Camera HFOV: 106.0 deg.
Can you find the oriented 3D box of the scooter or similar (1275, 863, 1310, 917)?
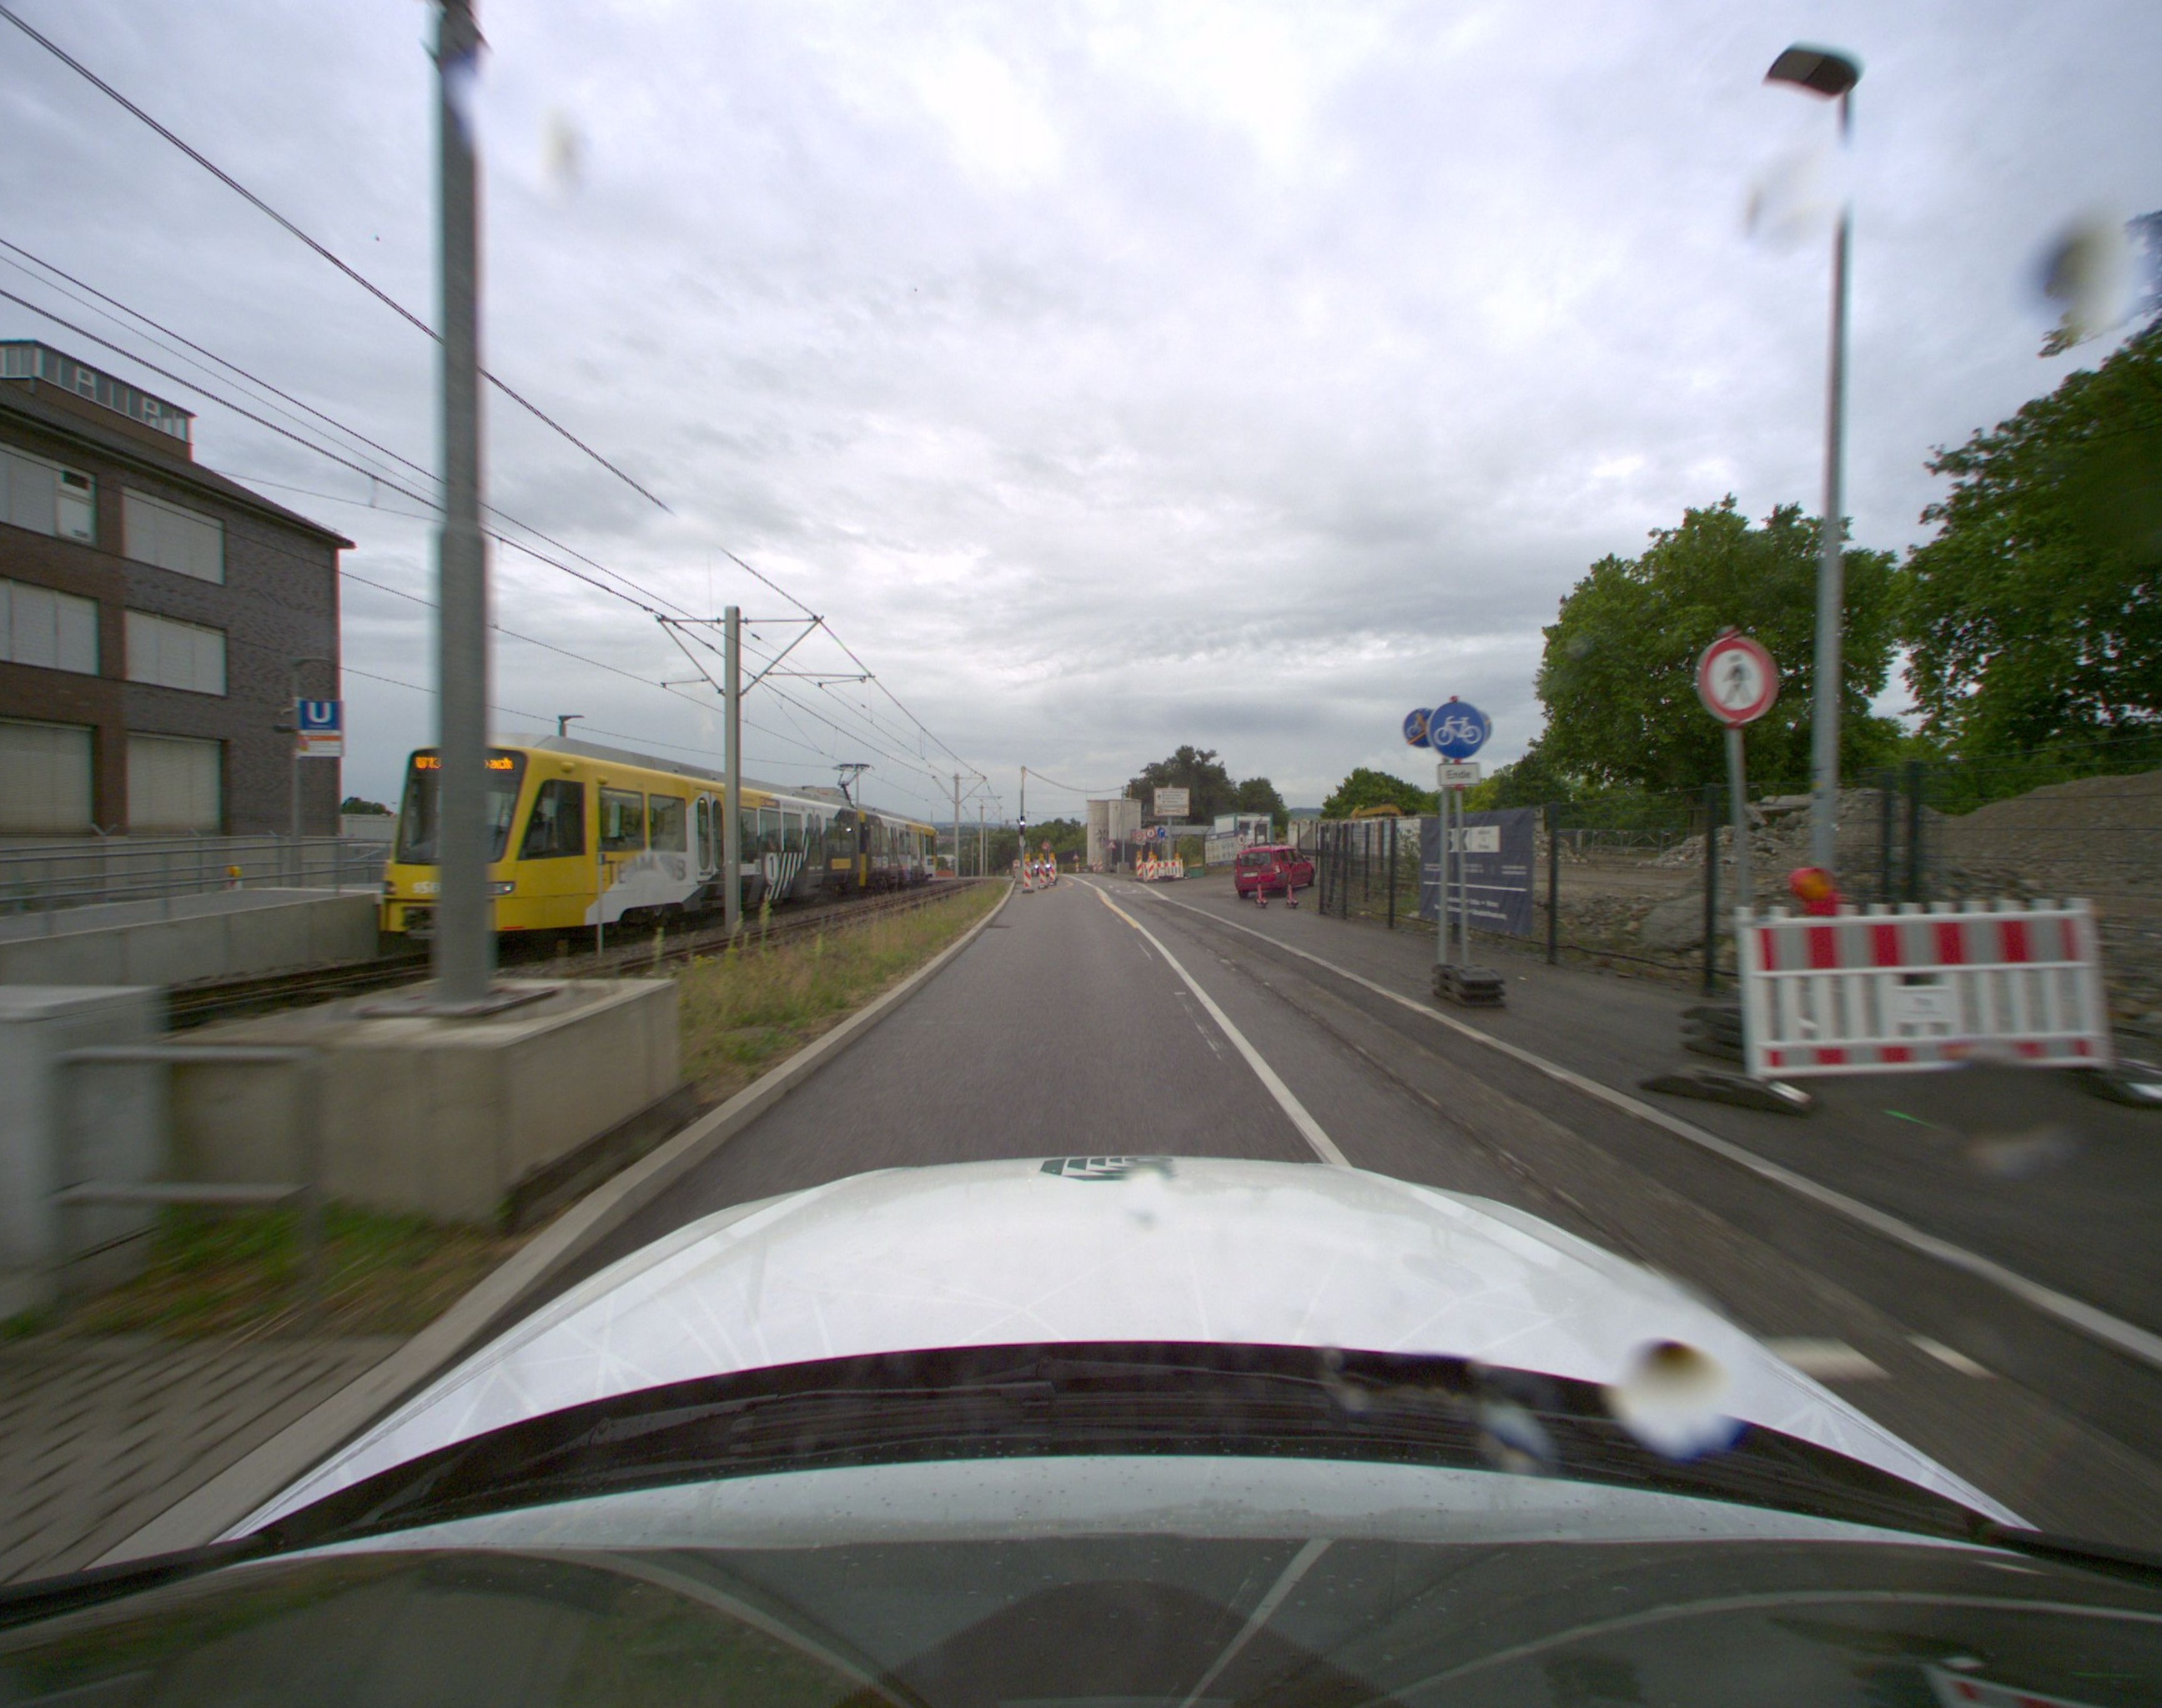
[{"bbox_3d":[5.599,0.920,21.658,0.612,1.351,1.915,-1,0,5],"label":"scooter or similar"}]

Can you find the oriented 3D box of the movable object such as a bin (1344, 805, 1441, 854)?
[{"bbox_3d":[40.193,-3.086,105.521,11.172,5.996,3.497,-1,-1,6],"label":"movable object such as a bin"}]

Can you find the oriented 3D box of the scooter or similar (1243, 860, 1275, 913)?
[{"bbox_3d":[4.769,0.842,21.942,0.612,1.351,1.915,-1,0,5],"label":"scooter or similar"}]

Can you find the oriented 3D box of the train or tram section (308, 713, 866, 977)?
[{"bbox_3d":[-9.922,-0.071,21.907,2.945,3.886,19.570,1,0,0],"label":"train or tram section"}]

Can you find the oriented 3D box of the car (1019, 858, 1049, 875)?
[{"bbox_3d":[-5.096,1.380,88.376,2.000,1.678,4.457,-1,-1,-20],"label":"car"}]

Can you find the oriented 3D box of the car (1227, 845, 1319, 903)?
[{"bbox_3d":[6.587,0.628,27.552,1.802,1.794,4.436,-1,0,30],"label":"car"}]

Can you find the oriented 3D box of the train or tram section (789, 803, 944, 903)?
[{"bbox_3d":[-9.965,0.018,41.367,2.946,3.886,19.282,1,0,-1],"label":"train or tram section"}]
